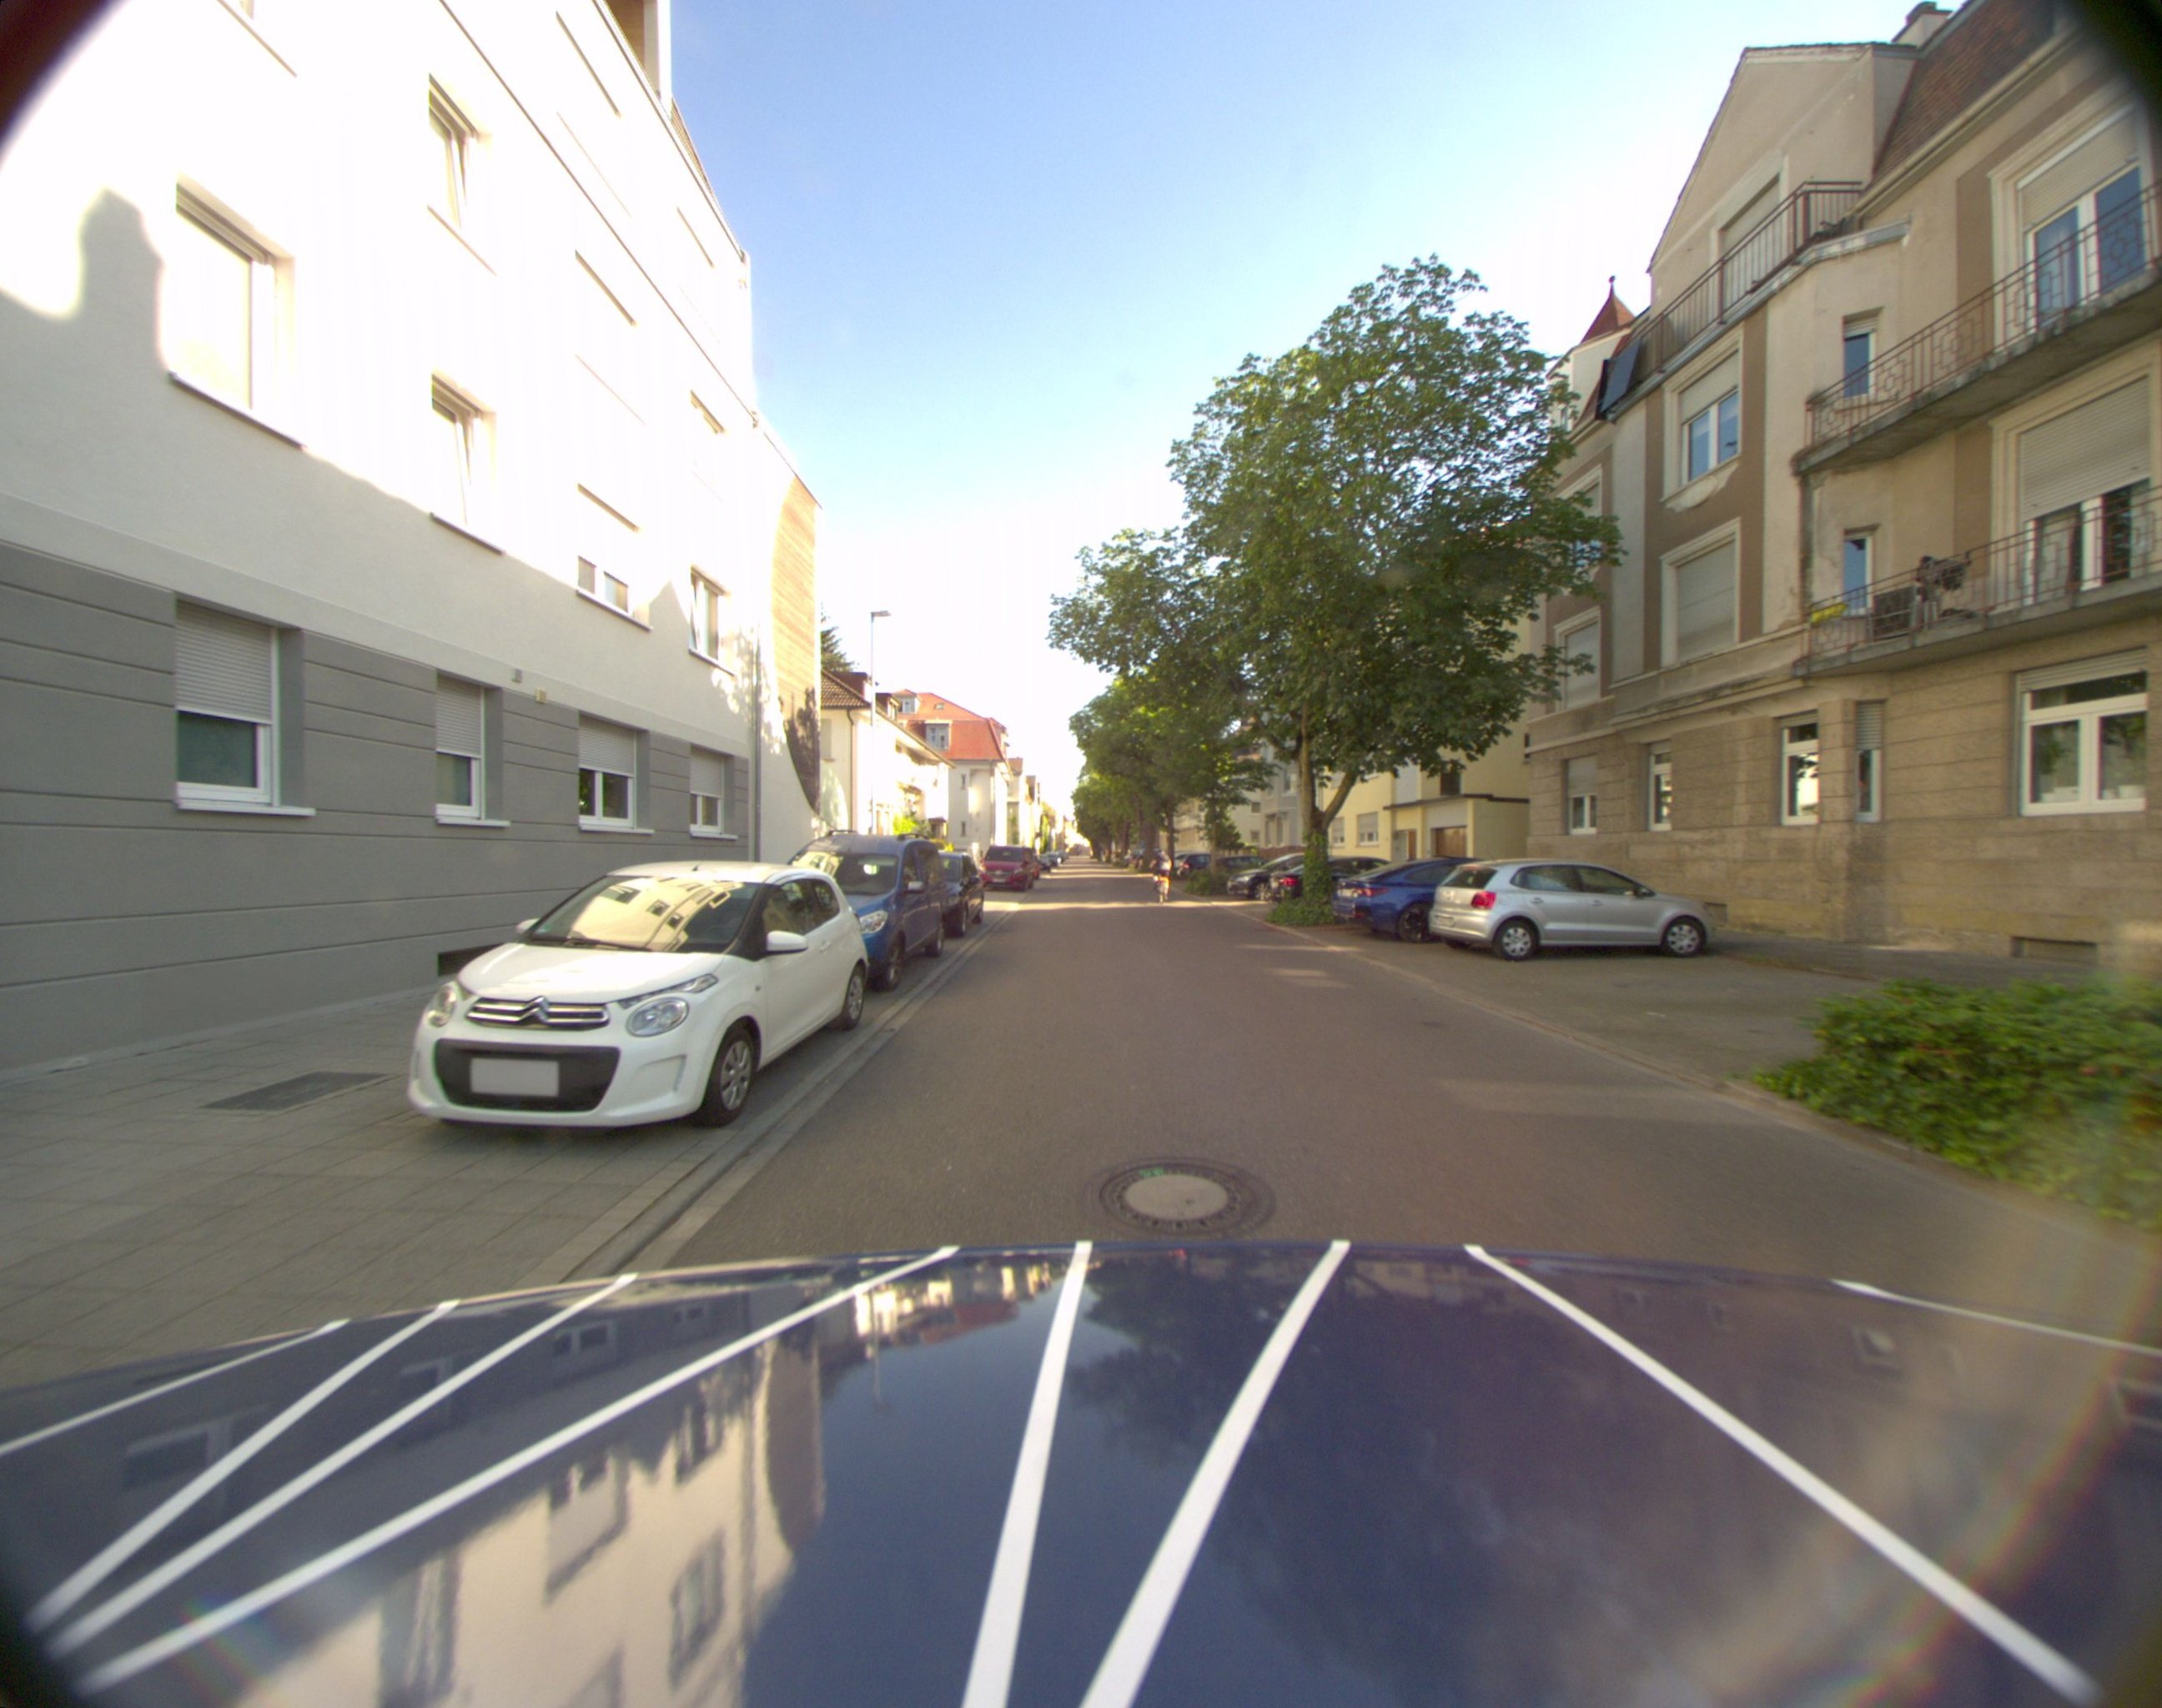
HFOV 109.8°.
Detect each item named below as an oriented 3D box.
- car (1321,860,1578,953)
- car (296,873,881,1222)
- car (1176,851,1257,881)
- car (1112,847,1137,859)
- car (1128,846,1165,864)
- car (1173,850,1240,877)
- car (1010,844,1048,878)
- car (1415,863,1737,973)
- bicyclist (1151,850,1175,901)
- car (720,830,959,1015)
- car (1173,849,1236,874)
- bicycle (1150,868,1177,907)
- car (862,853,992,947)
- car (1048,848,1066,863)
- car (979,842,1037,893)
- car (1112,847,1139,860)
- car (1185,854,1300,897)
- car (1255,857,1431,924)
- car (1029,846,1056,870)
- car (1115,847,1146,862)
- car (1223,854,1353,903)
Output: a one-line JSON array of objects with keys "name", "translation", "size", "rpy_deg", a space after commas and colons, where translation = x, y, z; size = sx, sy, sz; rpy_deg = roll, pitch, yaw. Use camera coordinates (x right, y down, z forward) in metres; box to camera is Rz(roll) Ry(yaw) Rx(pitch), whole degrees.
[{"name": "car", "translation": [6.478, 0.881, 13.616], "size": [3.789, 1.486, 1.692], "rpy_deg": [-1, 0, -3]}, {"name": "car", "translation": [-2.762, 0.941, 5.356], "size": [1.665, 1.440, 3.688], "rpy_deg": [3, 0, 0]}, {"name": "car", "translation": [7.027, 0.614, 39.610], "size": [3.790, 1.486, 1.691], "rpy_deg": [-1, 0, -5]}, {"name": "car", "translation": [6.264, -0.123, 110.189], "size": [3.528, 1.693, 1.692], "rpy_deg": [-1, 0, -2]}, {"name": "car", "translation": [6.553, 0.112, 76.355], "size": [3.528, 1.693, 1.692], "rpy_deg": [-1, 0, -2]}, {"name": "car", "translation": [7.284, 0.526, 44.215], "size": [3.529, 1.486, 1.691], "rpy_deg": [-1, 0, -5]}, {"name": "car", "translation": [-3.073, 0.396, 45.825], "size": [1.884, 1.860, 4.401], "rpy_deg": [3, 0, 0]}, {"name": "car", "translation": [7.295, 0.898, 11.438], "size": [3.789, 1.436, 1.692], "rpy_deg": [-1, 0, -3]}, {"name": "bicyclist", "translation": [2.519, 0.650, 23.435], "size": [0.644, 1.557, 1.043], "rpy_deg": [0, 1, 1]}, {"name": "car", "translation": [-2.836, 0.709, 9.973], "size": [1.665, 1.825, 4.256], "rpy_deg": [3, 0, 0]}, {"name": "car", "translation": [7.603, 0.466, 46.907], "size": [3.529, 1.486, 1.691], "rpy_deg": [-1, 0, -5]}, {"name": "bicycle", "translation": [2.525, 0.996, 23.439], "size": [0.644, 1.102, 2.065], "rpy_deg": [0, 0, 1]}, {"name": "car", "translation": [-2.912, 0.797, 15.223], "size": [1.665, 1.533, 4.066], "rpy_deg": [3, 0, 0]}, {"name": "car", "translation": [-2.780, 0.157, 87.450], "size": [1.884, 1.734, 4.401], "rpy_deg": [0, 0, 0]}, {"name": "car", "translation": [-2.940, 0.518, 31.611], "size": [1.884, 1.860, 4.401], "rpy_deg": [3, 0, 0]}, {"name": "car", "translation": [6.074, -0.070, 104.456], "size": [3.528, 1.693, 1.692], "rpy_deg": [-1, 0, -2]}, {"name": "car", "translation": [5.911, 0.760, 27.964], "size": [3.793, 1.486, 1.690], "rpy_deg": [-1, 0, -13]}, {"name": "car", "translation": [6.439, 0.842, 18.796], "size": [3.793, 1.486, 1.690], "rpy_deg": [-1, 0, -13]}, {"name": "car", "translation": [-3.067, 0.303, 61.059], "size": [1.884, 1.860, 4.401], "rpy_deg": [0, 0, 0]}, {"name": "car", "translation": [5.933, 0.067, 91.626], "size": [3.528, 1.693, 1.692], "rpy_deg": [-1, 0, -2]}, {"name": "car", "translation": [6.774, 0.760, 24.996], "size": [3.793, 1.486, 1.690], "rpy_deg": [-1, 0, -13]}]
